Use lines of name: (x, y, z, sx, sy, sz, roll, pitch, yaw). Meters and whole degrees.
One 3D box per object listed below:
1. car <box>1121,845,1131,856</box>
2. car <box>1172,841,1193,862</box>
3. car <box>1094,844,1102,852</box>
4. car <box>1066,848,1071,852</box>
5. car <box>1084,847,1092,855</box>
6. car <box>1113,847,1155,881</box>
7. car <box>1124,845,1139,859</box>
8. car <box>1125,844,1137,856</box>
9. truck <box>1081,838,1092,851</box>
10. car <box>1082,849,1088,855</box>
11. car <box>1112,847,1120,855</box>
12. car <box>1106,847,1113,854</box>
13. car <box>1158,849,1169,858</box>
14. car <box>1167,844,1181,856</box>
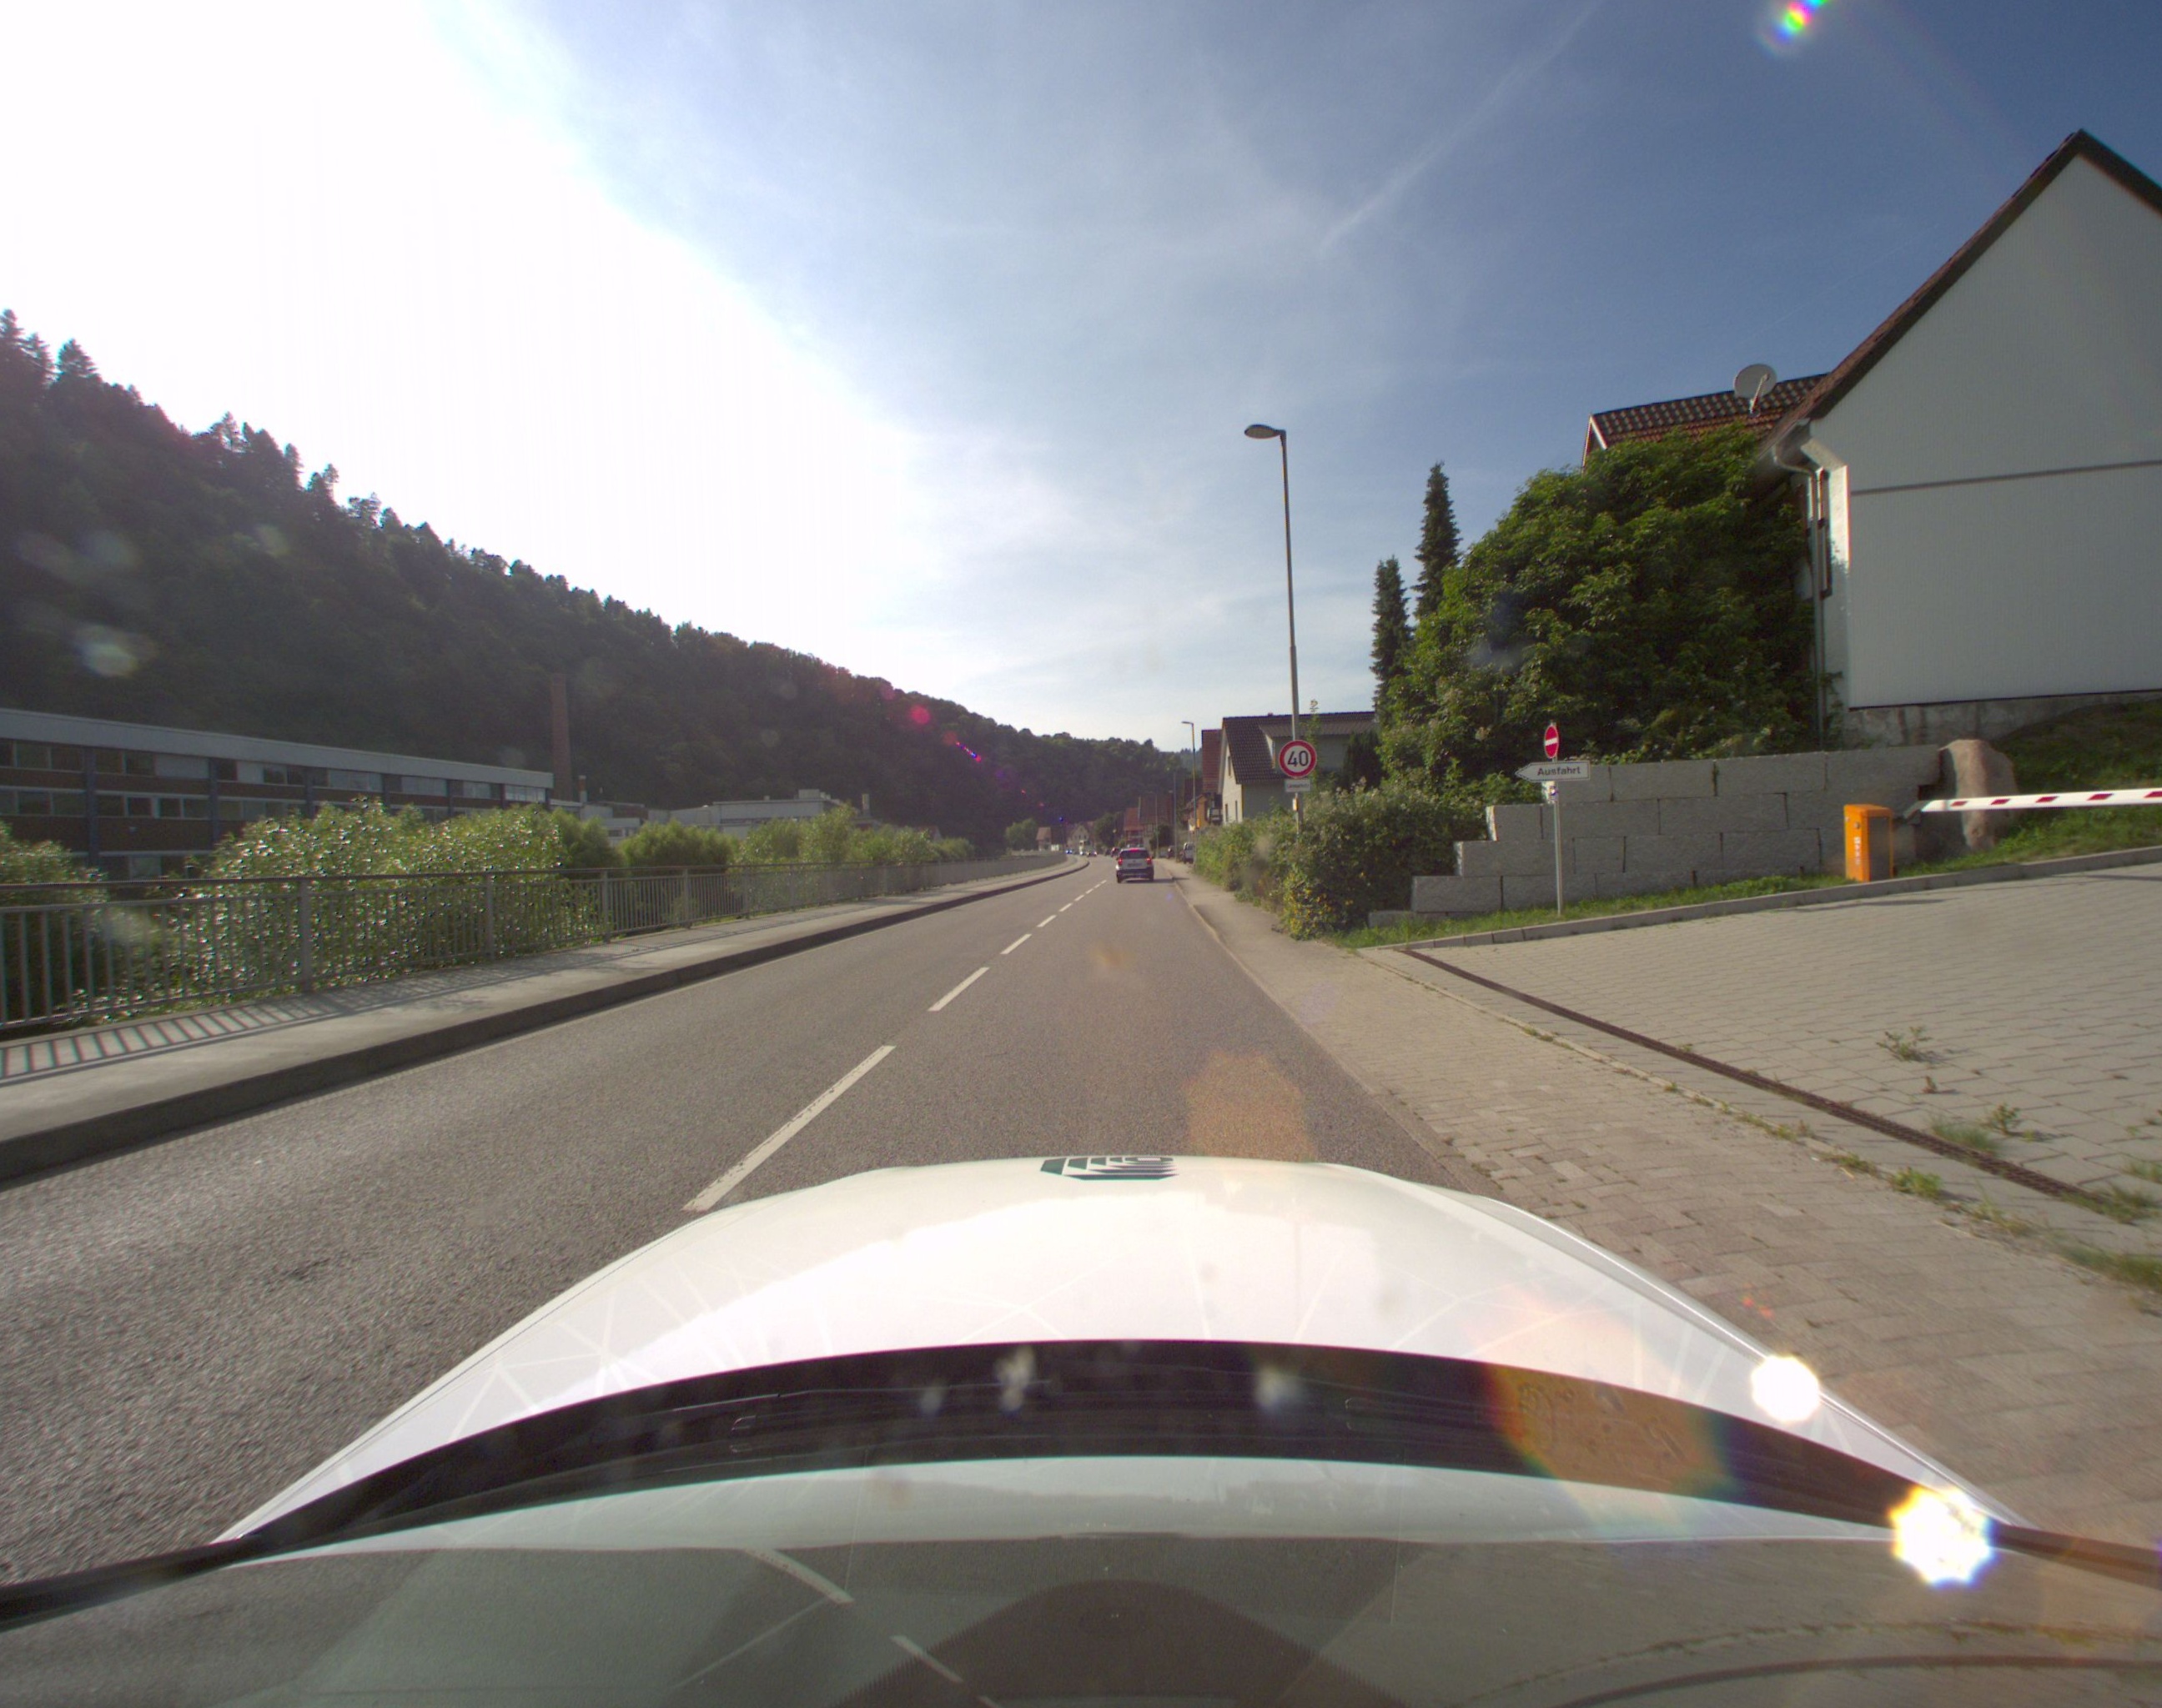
car: (6.667, -0.484, 120.465, 1.473, 1.459, 3.085, -2, -1, 2)
car: (8.350, -0.167, 66.815, 1.601, 1.646, 3.659, -2, -1, 8)
car: (3.950, -1.378, 188.578, 1.667, 1.752, 3.452, -2, 1, 4)
car: (-3.717, -1.196, 239.981, 1.362, 1.278, 3.078, -2, -1, -4)
car: (1.332, -0.490, 151.648, 1.429, 1.383, 3.134, -2, 1, -1)
car: (2.660, 0.453, 40.073, 1.852, 1.544, 4.379, -2, 0, 5)
car: (5.656, -0.189, 92.166, 1.615, 1.541, 3.281, -2, -1, 3)
car: (6.527, -0.454, 106.516, 1.603, 1.459, 3.348, -2, -1, 3)
truck: (1.481, -2.584, 220.435, 2.720, 3.374, 6.479, -2, 1, 1)
car: (0.872, -0.393, 182.987, 1.360, 1.278, 3.083, -2, -1, 0)
car: (5.930, -0.555, 138.208, 1.359, 1.278, 3.084, -2, -1, 2)
car: (5.601, -0.736, 158.508, 1.359, 1.278, 3.084, -2, -1, 1)
car: (10.023, -0.026, 99.363, 1.290, 0.974, 2.926, -2, -1, 6)
car: (10.432, -0.473, 91.398, 1.536, 1.216, 3.283, -2, -1, 6)
